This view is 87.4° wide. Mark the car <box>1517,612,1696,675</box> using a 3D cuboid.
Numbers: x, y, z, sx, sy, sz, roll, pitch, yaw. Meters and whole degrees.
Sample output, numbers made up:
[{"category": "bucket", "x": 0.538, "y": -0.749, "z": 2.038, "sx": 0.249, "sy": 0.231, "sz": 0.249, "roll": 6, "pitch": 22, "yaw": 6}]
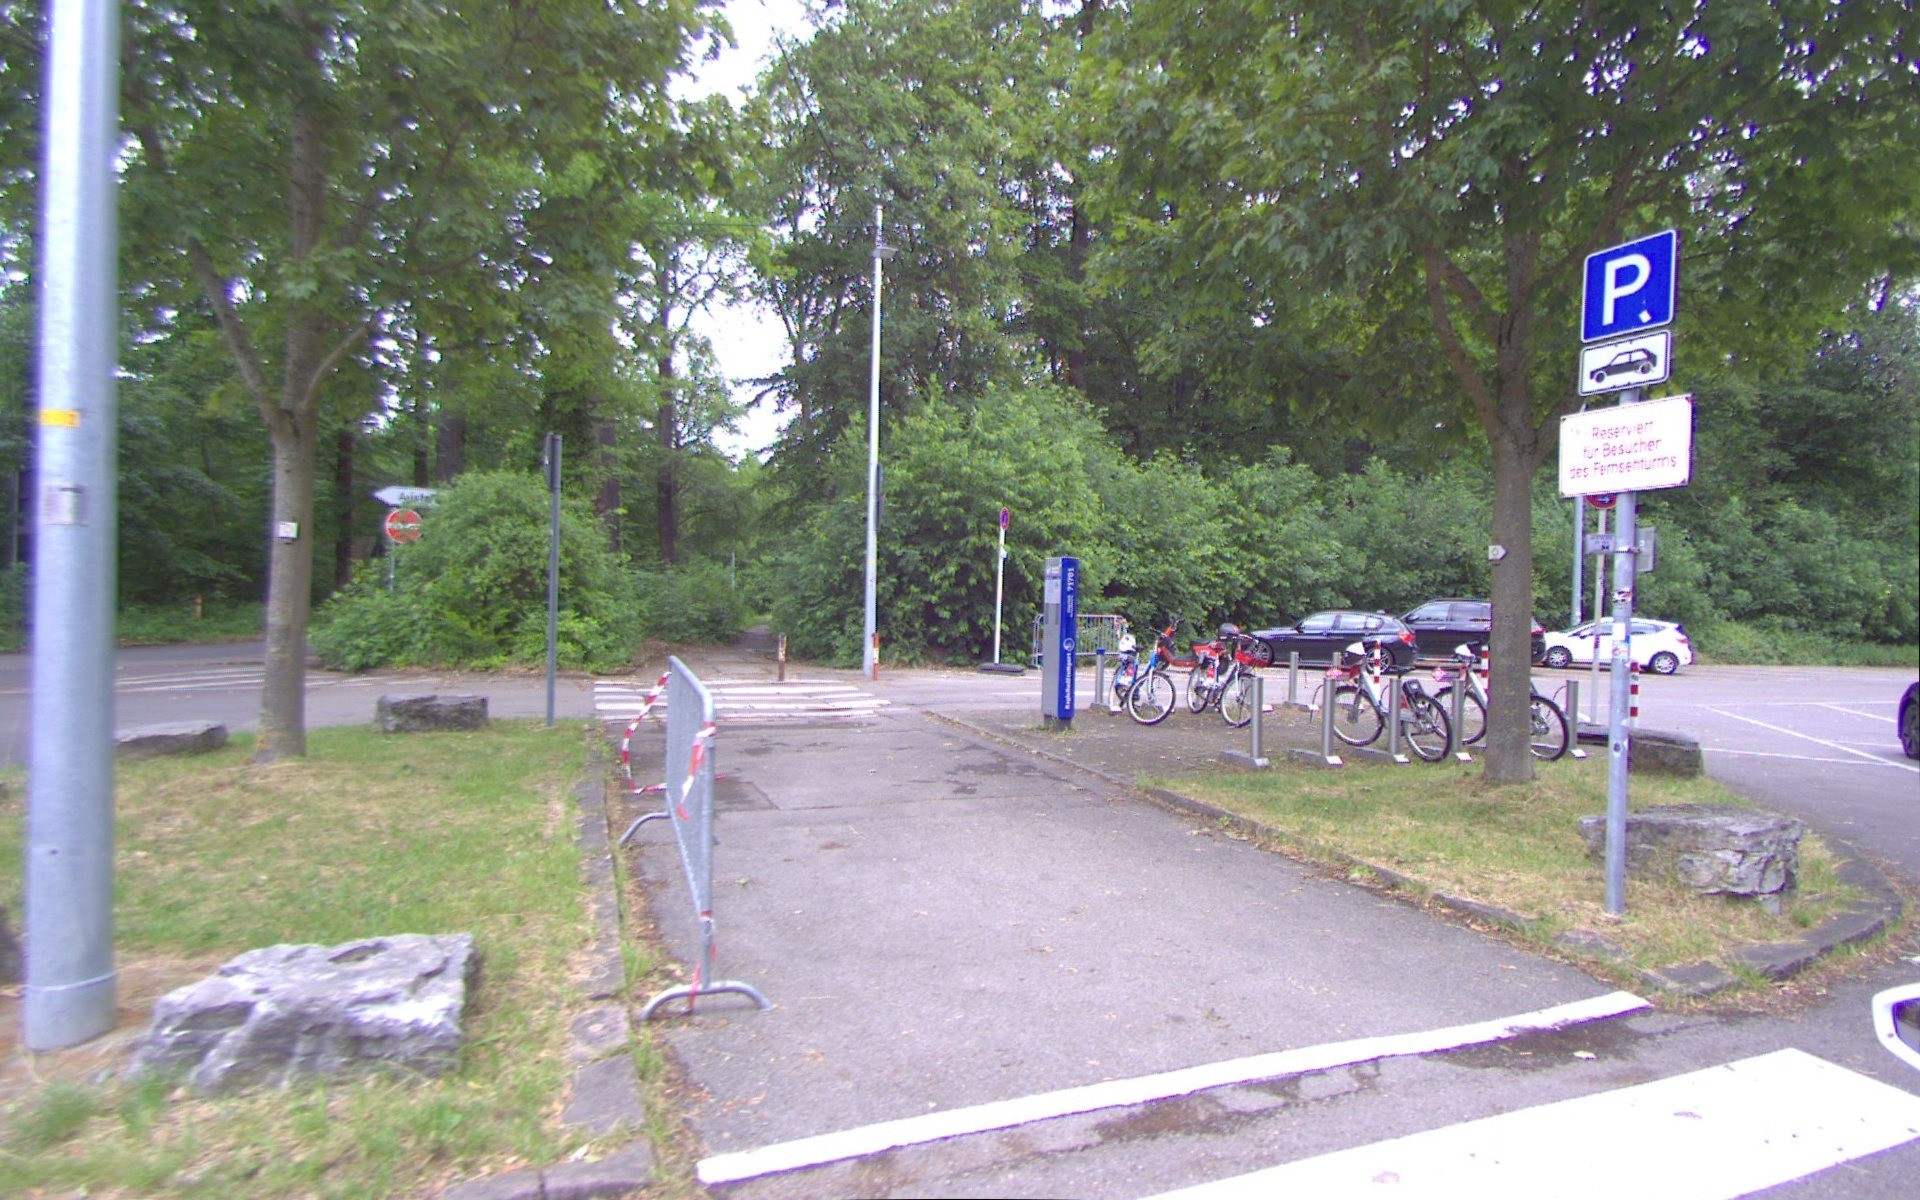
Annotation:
[{"category": "car", "x": 17.970, "y": 1.168, "z": 28.151, "sx": 3.924, "sy": 1.531, "sz": 1.868, "roll": 2, "pitch": 0, "yaw": 25}]

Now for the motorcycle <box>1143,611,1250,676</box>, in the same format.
[{"category": "motorcycle", "x": 4.919, "y": 0.891, "z": 20.954, "sx": 1.995, "sy": 1.224, "sz": 0.728, "roll": 2, "pitch": 0, "yaw": 35}]

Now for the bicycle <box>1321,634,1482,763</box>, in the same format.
[{"category": "bicycle", "x": 4.423, "y": 0.950, "z": 10.192, "sx": 0.475, "sy": 1.126, "sz": 1.678, "roll": 2, "pitch": 0, "yaw": -18}]

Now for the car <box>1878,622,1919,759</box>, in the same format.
[{"category": "car", "x": 11.256, "y": 1.038, "z": 10.136, "sx": 1.796, "sy": 1.543, "sz": 4.096, "roll": 2, "pitch": 0, "yaw": 26}]

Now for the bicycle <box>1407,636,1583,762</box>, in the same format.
[{"category": "bicycle", "x": 5.557, "y": 0.987, "z": 10.566, "sx": 0.475, "sy": 1.126, "sz": 1.782, "roll": 2, "pitch": 0, "yaw": -18}]

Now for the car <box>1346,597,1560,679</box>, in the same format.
[{"category": "car", "x": 12.299, "y": 0.891, "z": 25.366, "sx": 4.619, "sy": 1.790, "sz": 2.110, "roll": 2, "pitch": 0, "yaw": 25}]

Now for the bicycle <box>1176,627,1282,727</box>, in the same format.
[{"category": "bicycle", "x": 3.382, "y": 0.945, "z": 12.788, "sx": 0.497, "sy": 1.126, "sz": 1.680, "roll": 2, "pitch": 0, "yaw": -15}]

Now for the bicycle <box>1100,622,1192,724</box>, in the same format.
[{"category": "bicycle", "x": 2.303, "y": 0.879, "z": 12.628, "sx": 0.474, "sy": 1.126, "sz": 1.693, "roll": 2, "pitch": 0, "yaw": -13}]

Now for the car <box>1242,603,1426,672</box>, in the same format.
[{"category": "car", "x": 8.907, "y": 0.842, "z": 23.962, "sx": 3.924, "sy": 1.394, "sz": 1.739, "roll": 2, "pitch": 0, "yaw": 25}]
